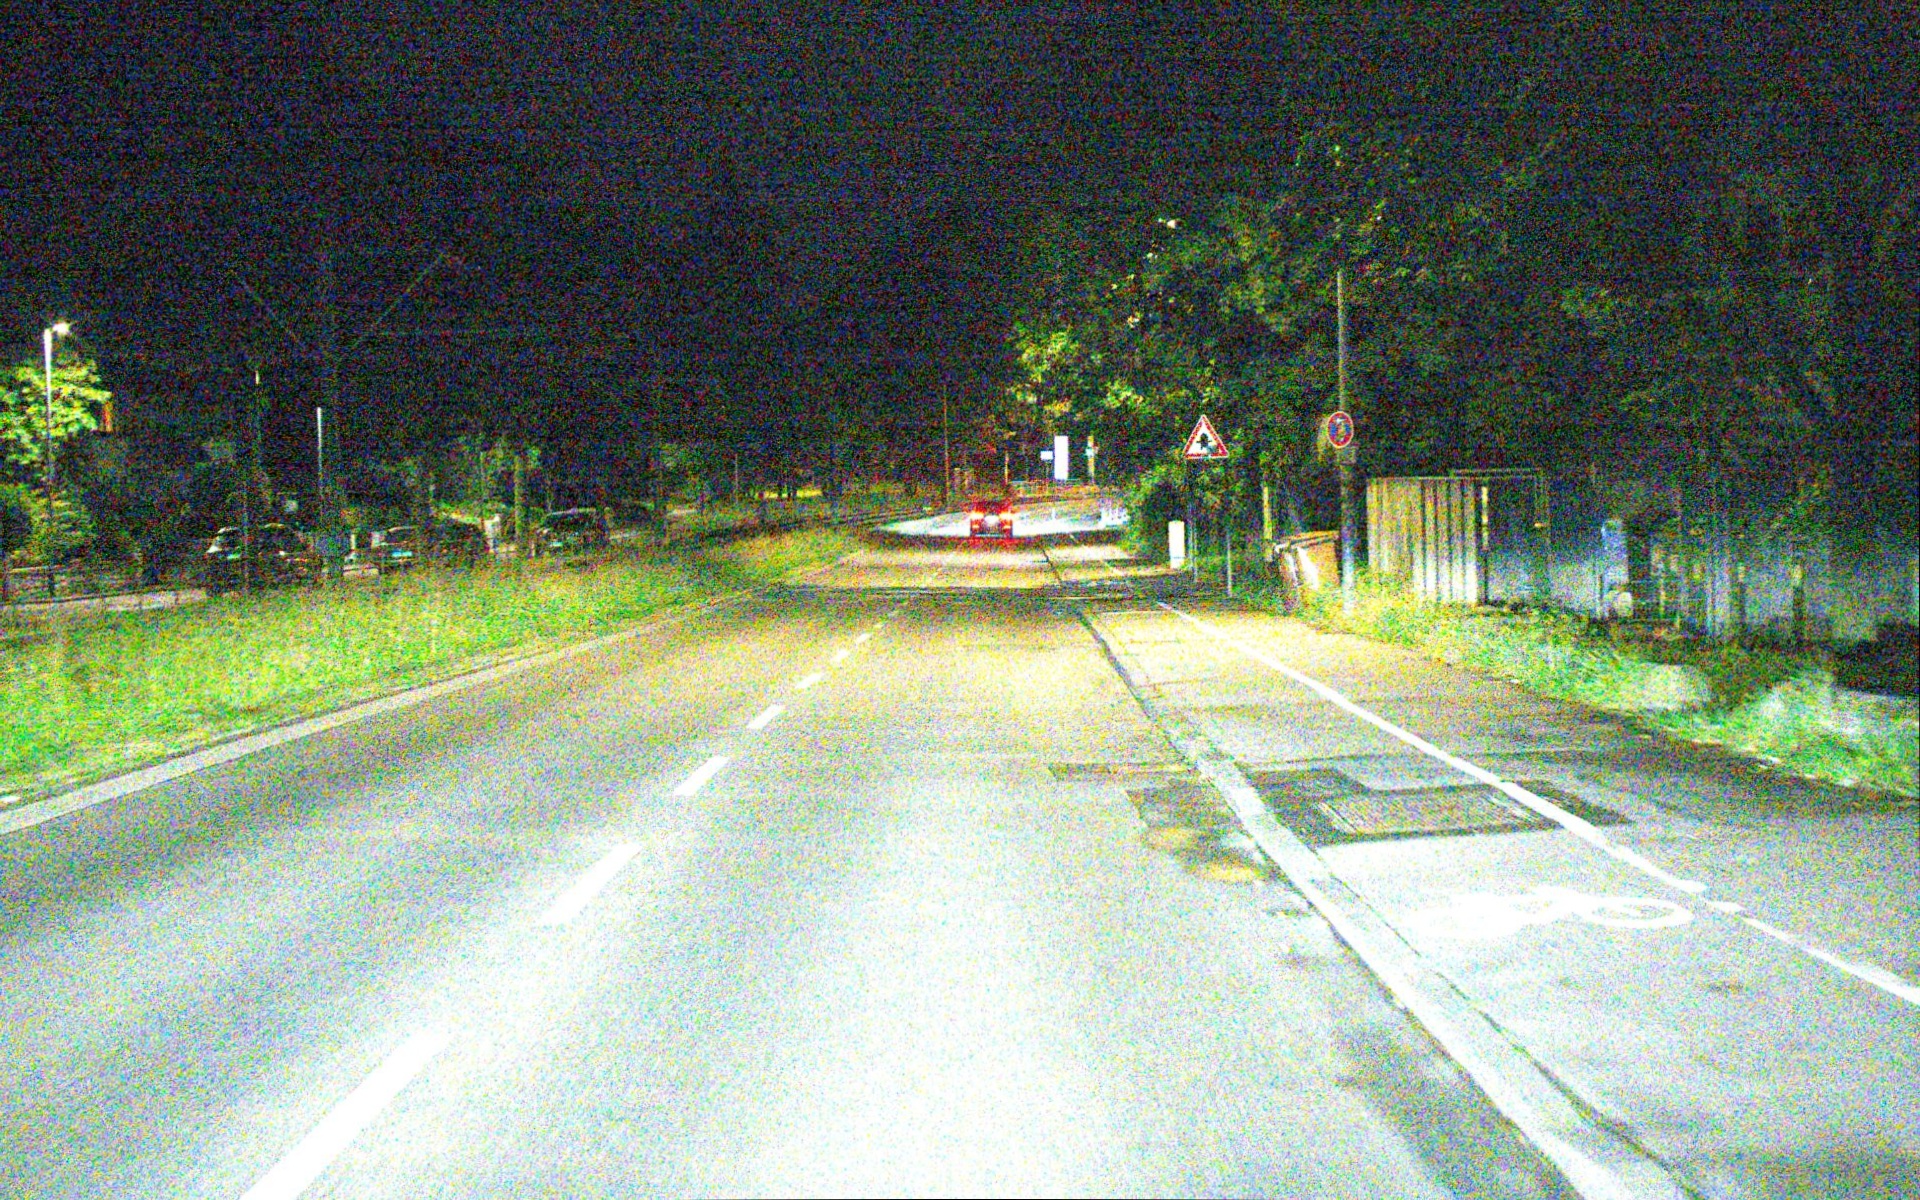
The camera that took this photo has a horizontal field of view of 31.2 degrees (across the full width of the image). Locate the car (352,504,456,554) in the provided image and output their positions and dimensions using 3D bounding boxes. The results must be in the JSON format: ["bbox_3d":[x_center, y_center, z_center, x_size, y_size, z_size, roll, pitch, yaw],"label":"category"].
[{"bbox_3d":[-15.484,-1.988,95.987,1.993,1.333,5.432,-1,1,0],"label":"car"}]

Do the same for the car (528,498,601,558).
[{"bbox_3d":[-14.540,-2.670,126.639,2.091,2.006,4.000,-5,2,0],"label":"car"}]

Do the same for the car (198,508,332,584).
[{"bbox_3d":[-15.376,-1.217,76.273,1.993,1.622,4.677,-1,1,0],"label":"car"}]

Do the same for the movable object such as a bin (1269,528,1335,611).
[{"bbox_3d":[4.670,-0.427,47.013,0.857,1.115,0.840,0,1,3],"label":"movable object such as a bin"}]

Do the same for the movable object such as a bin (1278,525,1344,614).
[{"bbox_3d":[4.706,-0.419,46.136,0.833,1.177,0.828,0,1,3],"label":"movable object such as a bin"}]

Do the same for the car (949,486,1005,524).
[{"bbox_3d":[0.699,-3.996,145.010,2.161,1.577,4.014,0,1,-3],"label":"car"}]

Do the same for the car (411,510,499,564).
[{"bbox_3d":[-14.948,-1.891,101.883,1.993,1.524,4.000,-1,2,0],"label":"car"}]
